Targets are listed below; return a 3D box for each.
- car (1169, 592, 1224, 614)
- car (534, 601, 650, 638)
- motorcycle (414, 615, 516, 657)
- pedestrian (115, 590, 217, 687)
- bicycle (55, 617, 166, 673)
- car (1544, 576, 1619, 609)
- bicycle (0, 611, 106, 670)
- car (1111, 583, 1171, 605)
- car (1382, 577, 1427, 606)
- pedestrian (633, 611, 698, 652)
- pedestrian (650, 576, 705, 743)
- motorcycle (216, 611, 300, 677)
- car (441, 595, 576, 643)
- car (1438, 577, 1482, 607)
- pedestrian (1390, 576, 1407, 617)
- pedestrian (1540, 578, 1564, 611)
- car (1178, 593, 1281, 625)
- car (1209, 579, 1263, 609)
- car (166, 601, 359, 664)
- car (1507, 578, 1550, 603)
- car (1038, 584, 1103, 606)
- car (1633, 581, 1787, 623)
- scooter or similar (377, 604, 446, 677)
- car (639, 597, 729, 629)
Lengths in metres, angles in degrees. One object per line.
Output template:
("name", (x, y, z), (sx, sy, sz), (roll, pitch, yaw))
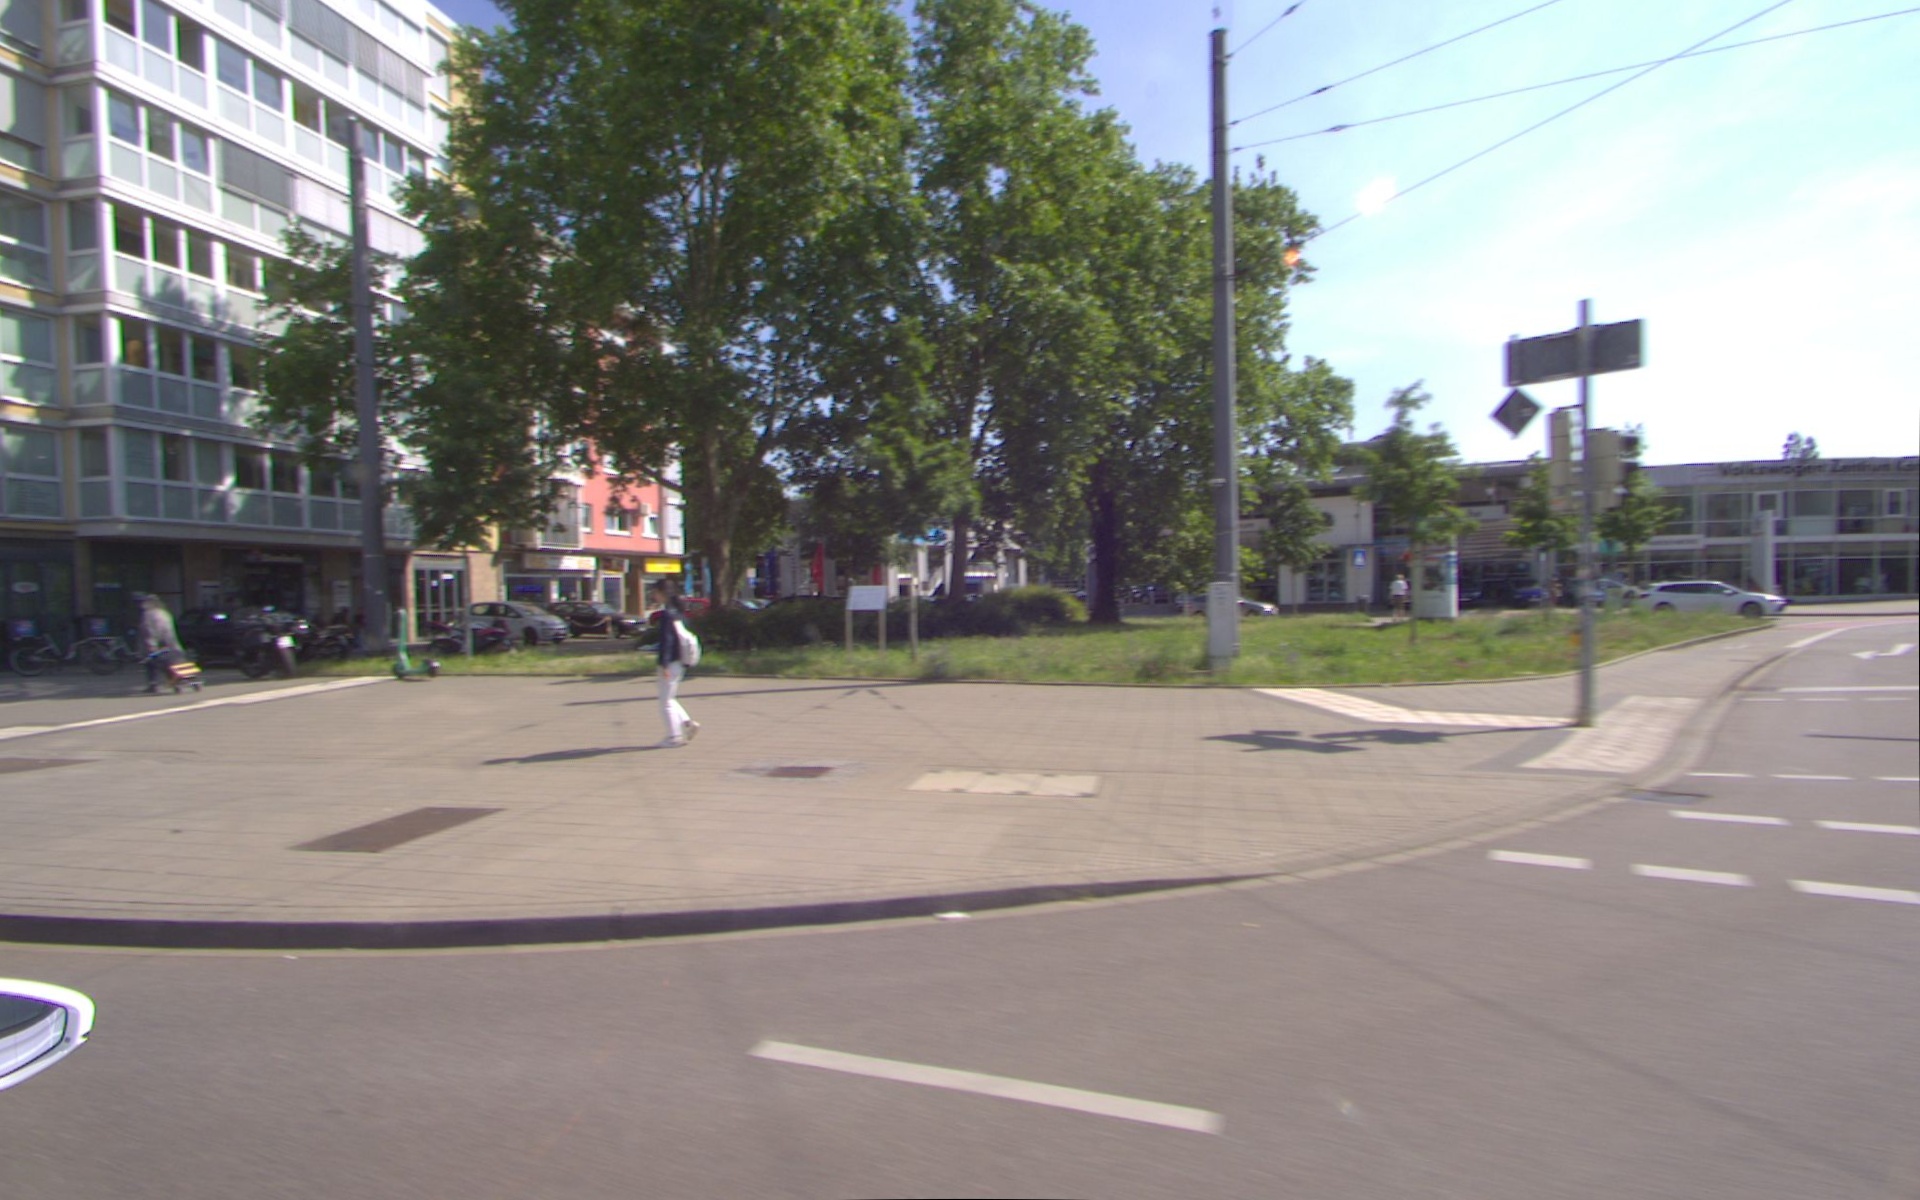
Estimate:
("car", (14.661, 0.166, 61.976), (1.972, 1.261, 3.975), (2, 2, 34))
("car", (-14.303, 0.745, 38.961), (3.925, 1.288, 1.741), (1, 1, 14))
("motorcycle", (-11.116, 0.803, 22.547), (2.006, 0.853, 0.638), (-1, 1, -27))
("pedestrian", (-12.338, 0.606, 15.573), (1.096, 1.421, 0.657), (-3, -2, 10))
("bicycle", (-18.567, 0.969, 21.928), (0.574, 1.100, 1.751), (-1, 2, 23))
("car", (32.446, -0.398, 52.375), (1.790, 1.640, 3.997), (1, 1, 8))
("bicycle", (-19.861, 0.883, 21.874), (0.574, 1.235, 1.752), (-1, -1, 23))
("car", (13.383, -0.467, 73.858), (3.938, 1.528, 1.991), (0, 1, 29))
("car", (24.690, -0.474, 55.509), (1.969, 1.506, 3.983), (2, 2, 28))
("pedestrian", (-6.759, 0.721, 22.998), (1.154, 0.904, 0.822), (-1, 1, 11))
("pedestrian", (-2.796, 0.579, 9.925), (0.446, 1.627, 0.400), (1, 2, -6))
("motorcycle", (-12.393, 0.749, 17.654), (2.012, 1.076, 0.636), (0, 2, 38))
("car", (-15.567, 0.627, 34.613), (3.925, 1.459, 1.888), (1, 1, 14))
("car", (27.045, -0.456, 54.083), (1.969, 1.506, 3.983), (2, 2, 28))
("pedestrian", (17.422, -0.135, 39.795), (0.458, 1.617, 0.390), (0, 2, -37))
("pedestrian", (29.248, -0.254, 49.502), (0.941, 1.601, 0.532), (2, 2, 27))
("car", (13.440, 0.416, 50.029), (4.535, 1.455, 1.961), (2, 2, 34))
("car", (16.868, -0.364, 61.111), (1.972, 1.707, 3.975), (2, 2, 34))
("car", (-17.207, 0.816, 24.738), (4.017, 1.489, 1.659), (-1, -2, 14))
("car", (29.569, -0.490, 52.138), (1.807, 1.211, 3.982), (2, 2, 28))
("car", (7.427, -0.350, 67.339), (3.939, 1.390, 1.991), (2, 2, 30))
("car", (28.638, 0.052, 38.331), (4.549, 1.455, 1.431), (2, 2, 44))
("scooter or similar", (-8.978, 0.644, 16.376), (1.348, 1.135, 0.513), (0, 2, 40))
("car", (-12.907, 0.594, 46.846), (3.665, 1.358, 1.741), (1, 1, 14))
